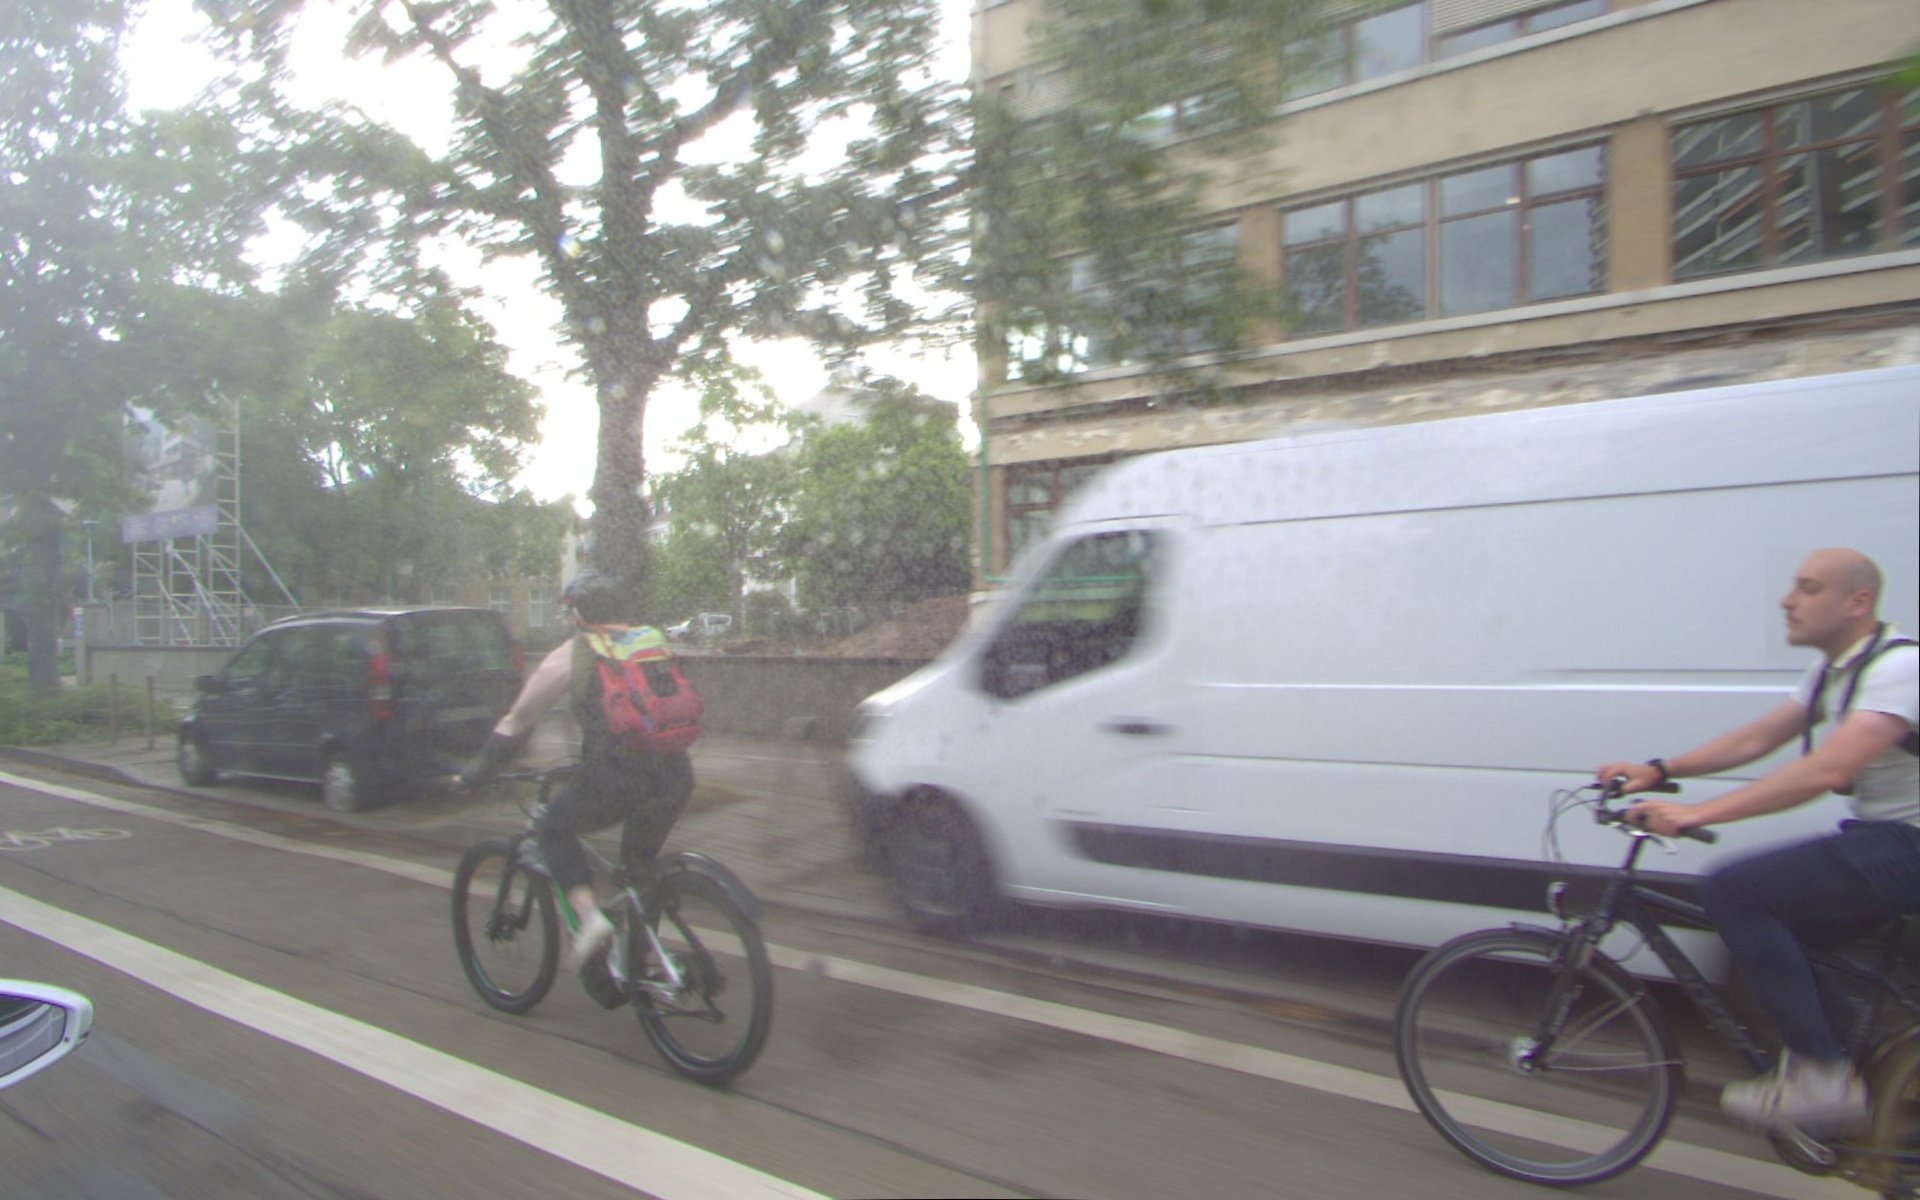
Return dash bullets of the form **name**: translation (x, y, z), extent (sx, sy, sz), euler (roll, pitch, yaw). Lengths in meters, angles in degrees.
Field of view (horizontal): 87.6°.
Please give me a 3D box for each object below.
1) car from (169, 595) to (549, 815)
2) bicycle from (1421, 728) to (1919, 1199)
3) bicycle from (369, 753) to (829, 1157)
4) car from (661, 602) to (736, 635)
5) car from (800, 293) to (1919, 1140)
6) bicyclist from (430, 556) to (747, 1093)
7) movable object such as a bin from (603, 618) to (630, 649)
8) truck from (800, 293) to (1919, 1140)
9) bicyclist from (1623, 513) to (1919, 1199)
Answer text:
- **car**: translation (-6.141, 0.950, 10.127), extent (4.026, 1.835, 1.651), euler (-2, -2, 32)
- **bicycle**: translation (2.153, 0.951, 2.413), extent (1.839, 1.131, 0.663), euler (0, -2, 31)
- **bicycle**: translation (-1.417, 1.156, 3.704), extent (2.029, 0.992, 0.488), euler (-1, -2, 34)
- **car**: translation (-16.812, 1.214, 64.432), extent (4.297, 2.039, 1.842), euler (1, -2, -35)
- **car**: translation (1.995, 0.412, 4.938), extent (5.410, 2.635, 2.110), euler (-1, -2, 31)
- **bicyclist**: translation (-1.321, 0.693, 3.571), extent (0.907, 1.631, 0.656), euler (-1, 0, 34)
- **movable object such as a bin**: translation (-16.961, 1.657, 49.478), extent (1.041, 1.469, 1.347), euler (0, 1, -30)
- **truck**: translation (1.995, 0.412, 4.938), extent (5.410, 2.635, 2.110), euler (-1, -2, 31)
- **bicyclist**: translation (2.189, 0.622, 2.394), extent (0.971, 1.590, 0.661), euler (0, -1, 32)
